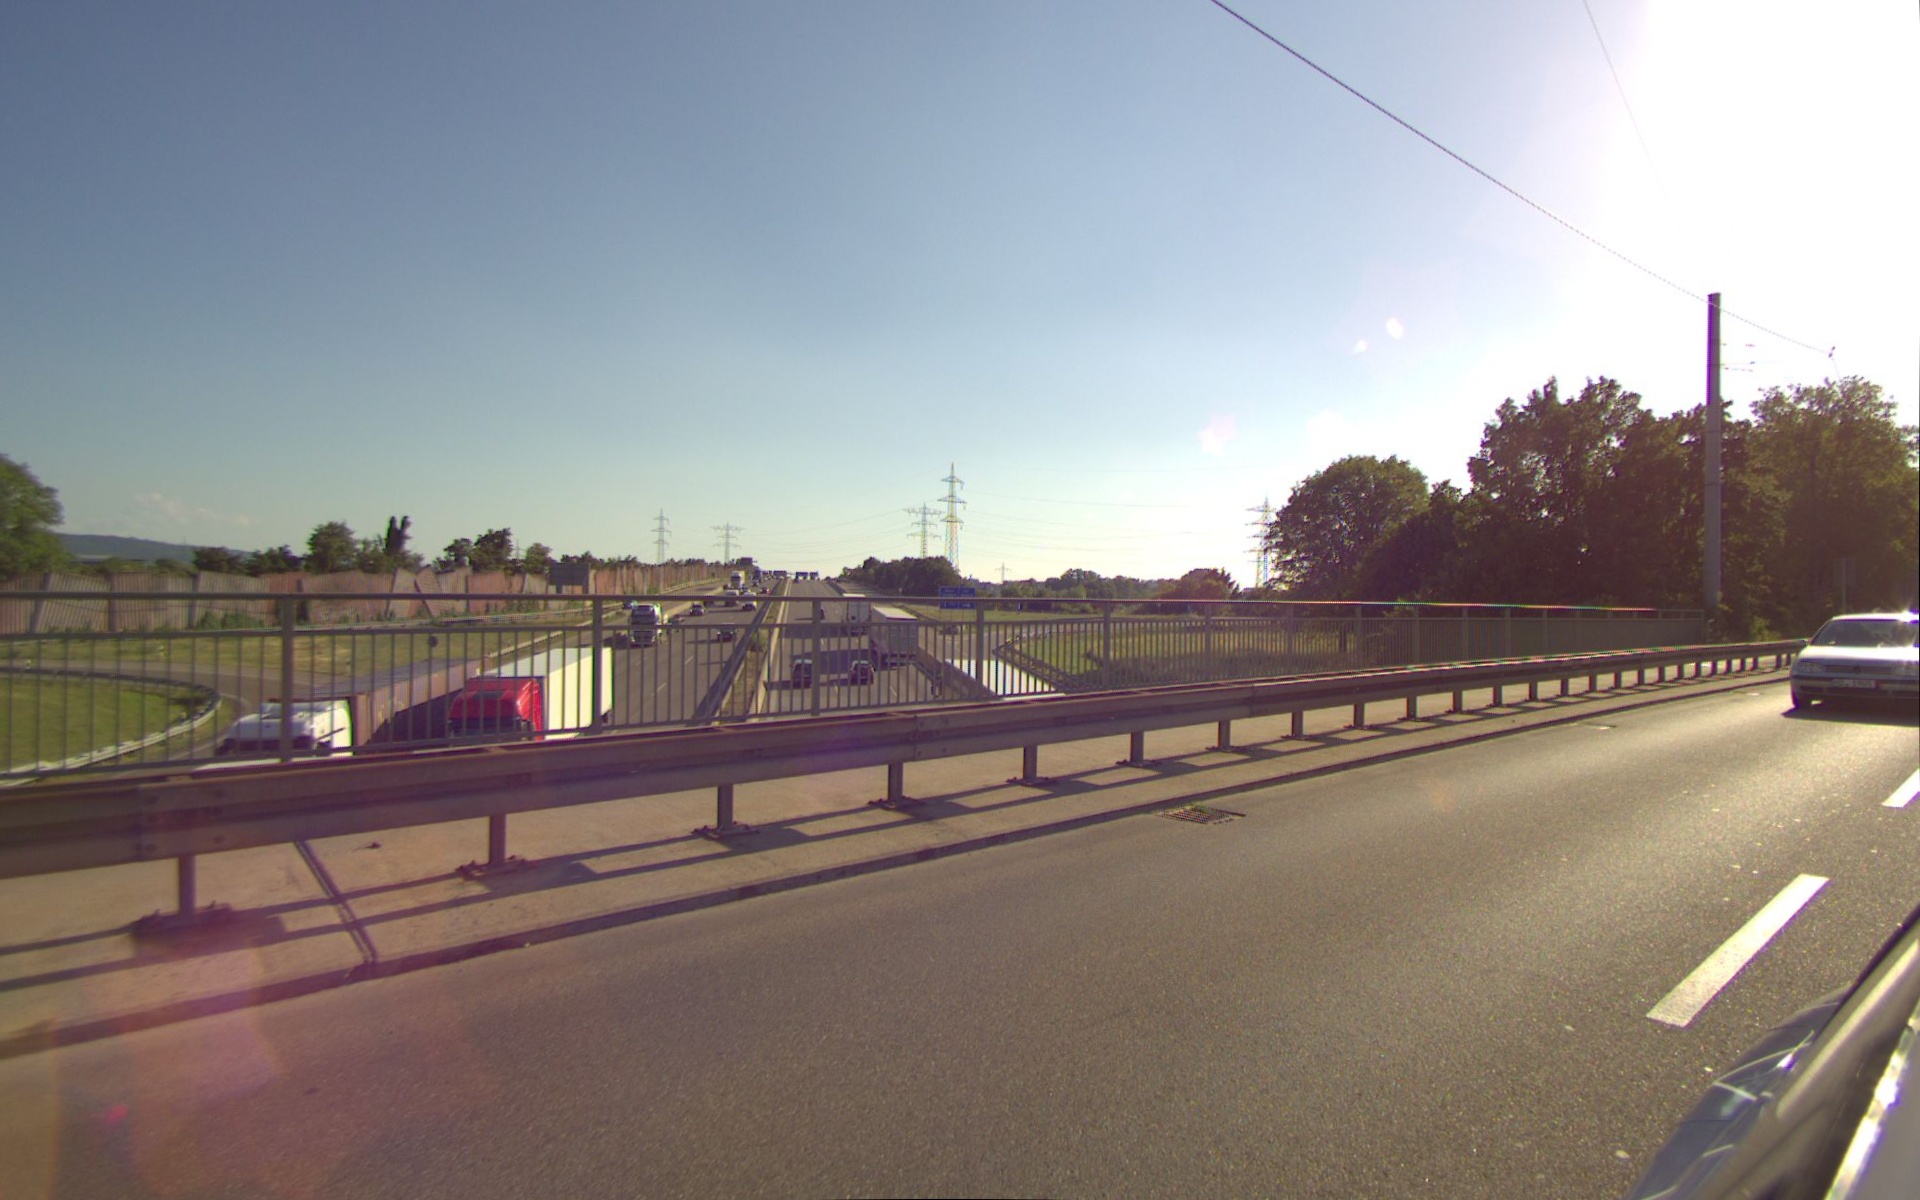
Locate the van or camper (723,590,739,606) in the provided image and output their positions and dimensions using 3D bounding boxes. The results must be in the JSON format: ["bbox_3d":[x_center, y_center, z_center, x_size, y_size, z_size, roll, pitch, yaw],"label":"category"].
[{"bbox_3d":[-37.192,-0.319,164.396,2.058,2.358,4.976,0,1,-8],"label":"van or camper"}]

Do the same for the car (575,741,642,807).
[{"bbox_3d":[-11.820,5.833,34.177,1.530,1.475,3.352,0,2,-9],"label":"car"}]

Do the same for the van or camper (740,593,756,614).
[{"bbox_3d":[-31.593,0.501,151.019,1.954,2.857,4.826,0,3,-8],"label":"van or camper"}]

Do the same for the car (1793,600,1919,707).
[{"bbox_3d":[14.260,0.731,15.420,4.062,1.435,1.692,0,0,-40],"label":"car"}]

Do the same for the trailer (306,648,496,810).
[{"bbox_3d":[-20.683,4.443,38.457,2.506,4.207,11.510,-1,2,-9],"label":"trailer"}]

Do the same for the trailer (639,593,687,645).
[{"bbox_3d":[-31.237,1.795,107.113,2.676,4.644,17.010,0,2,-9],"label":"trailer"}]

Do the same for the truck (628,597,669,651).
[{"bbox_3d":[-29.439,2.172,95.794,2.678,4.669,7.245,0,2,-9],"label":"truck"}]

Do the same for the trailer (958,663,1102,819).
[{"bbox_3d":[2.202,4.691,36.362,2.993,3.902,9.391,-1,2,-9],"label":"trailer"}]

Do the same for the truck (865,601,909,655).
[{"bbox_3d":[-6.665,2.462,91.757,3.211,4.331,6.391,3,1,-9],"label":"truck"}]

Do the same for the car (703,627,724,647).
[{"bbox_3d":[-24.408,3.616,100.399,1.724,1.616,4.317,0,3,-9],"label":"car"}]

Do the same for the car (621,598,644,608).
[{"bbox_3d":[-51.642,0.481,159.692,1.735,1.617,3.673,-1,0,16],"label":"car"}]

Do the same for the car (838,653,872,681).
[{"bbox_3d":[-7.296,4.592,70.055,1.848,1.534,3.968,0,2,-12],"label":"car"}]

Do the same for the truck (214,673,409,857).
[{"bbox_3d":[-19.406,4.710,30.801,2.506,4.221,6.497,-1,2,-9],"label":"truck"}]

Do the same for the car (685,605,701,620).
[{"bbox_3d":[-36.959,1.703,139.893,1.741,1.885,3.831,0,3,-9],"label":"car"}]

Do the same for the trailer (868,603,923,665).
[{"bbox_3d":[-5.547,2.697,85.075,3.240,4.327,11.575,3,1,-9],"label":"trailer"}]

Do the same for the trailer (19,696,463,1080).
[{"bbox_3d":[-13.442,4.799,20.743,2.506,4.117,11.510,-1,2,-9],"label":"trailer"}]

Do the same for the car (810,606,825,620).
[{"bbox_3d":[-19.214,1.684,136.383,1.666,1.533,3.970,0,4,-12],"label":"car"}]

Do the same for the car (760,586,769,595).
[{"bbox_3d":[-41.730,-2.066,216.114,1.866,1.741,3.989,0,3,-8],"label":"car"}]

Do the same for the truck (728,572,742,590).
[{"bbox_3d":[-54.347,-4.642,244.367,2.730,4.127,7.544,0,4,-8],"label":"truck"}]

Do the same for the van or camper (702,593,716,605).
[{"bbox_3d":[-41.636,-0.198,167.874,1.716,1.790,3.825,0,2,-8],"label":"van or camper"}]

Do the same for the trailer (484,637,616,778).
[{"bbox_3d":[-16.891,4.111,42.675,2.506,4.207,12.006,-1,2,-9],"label":"trailer"}]

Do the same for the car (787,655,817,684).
[{"bbox_3d":[-10.432,4.564,67.143,1.849,1.534,4.072,0,2,-7],"label":"car"}]

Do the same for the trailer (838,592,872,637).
[{"bbox_3d":[-12.111,1.492,116.048,2.993,4.514,13.141,-1,2,-9],"label":"trailer"}]

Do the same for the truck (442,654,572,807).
[{"bbox_3d":[-15.724,4.333,35.605,2.506,4.221,6.497,-1,2,-9],"label":"truck"}]

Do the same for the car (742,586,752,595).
[{"bbox_3d":[-43.991,-1.920,208.898,1.866,1.741,3.989,0,3,-8],"label":"car"}]

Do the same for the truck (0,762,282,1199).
[{"bbox_3d":[-12.328,4.980,13.832,2.506,4.181,6.497,-1,2,-9],"label":"truck"}]

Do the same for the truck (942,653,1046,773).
[{"bbox_3d":[1.263,4.484,41.938,2.993,3.929,6.619,-1,2,-9],"label":"truck"}]
